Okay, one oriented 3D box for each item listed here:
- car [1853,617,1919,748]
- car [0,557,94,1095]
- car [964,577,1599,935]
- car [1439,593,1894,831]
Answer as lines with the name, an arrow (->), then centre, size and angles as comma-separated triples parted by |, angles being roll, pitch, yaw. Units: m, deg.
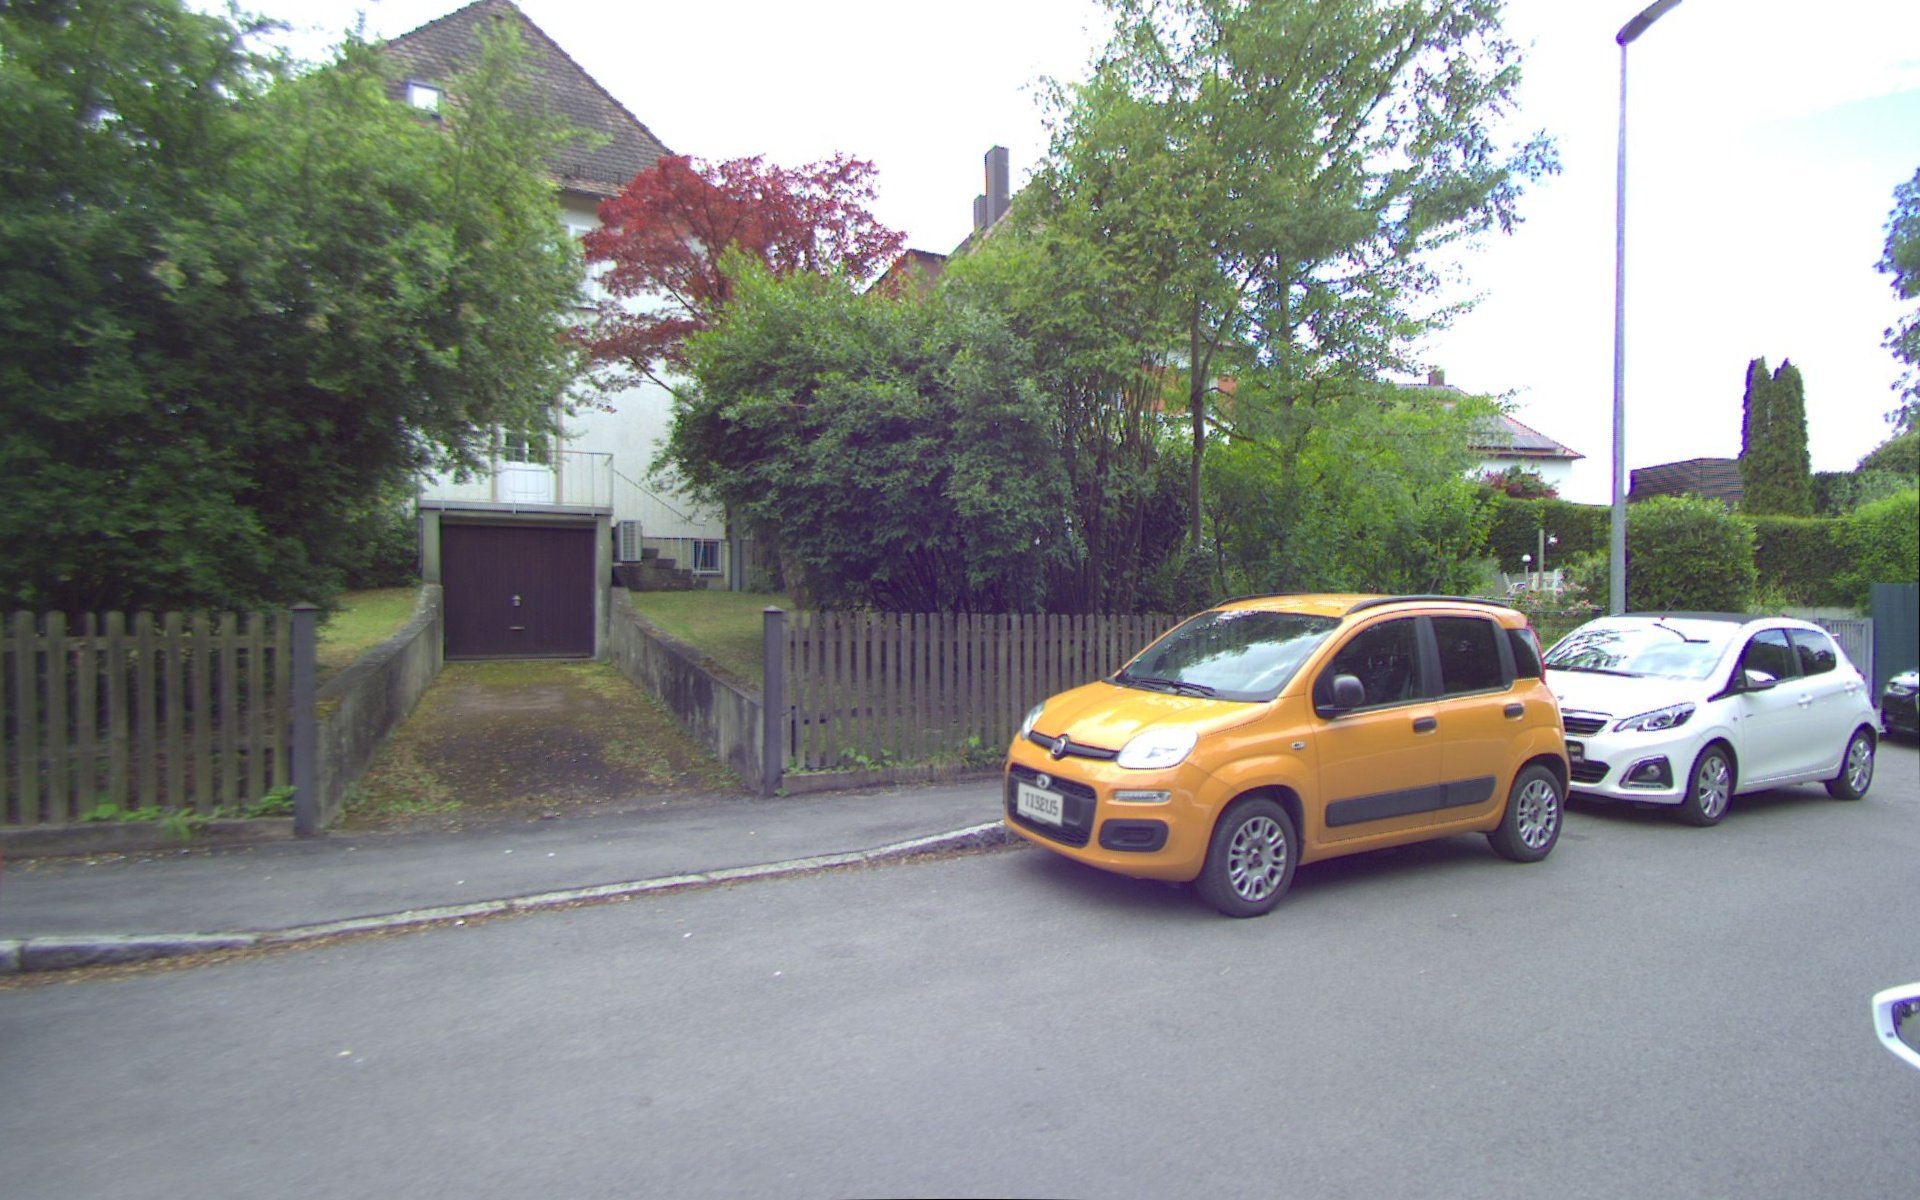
car -> 12.565, 0.947, 11.600 | 4.601, 1.403, 1.713 | 1, 0, -26
car -> -4.638, 0.607, 1.865 | 4.313, 1.535, 1.698 | 1, 0, -31
car -> 1.963, 0.689, 5.889 | 3.602, 1.535, 1.536 | 1, 0, -31
car -> 5.714, 0.754, 8.079 | 3.546, 1.535, 1.581 | 1, 0, -29
